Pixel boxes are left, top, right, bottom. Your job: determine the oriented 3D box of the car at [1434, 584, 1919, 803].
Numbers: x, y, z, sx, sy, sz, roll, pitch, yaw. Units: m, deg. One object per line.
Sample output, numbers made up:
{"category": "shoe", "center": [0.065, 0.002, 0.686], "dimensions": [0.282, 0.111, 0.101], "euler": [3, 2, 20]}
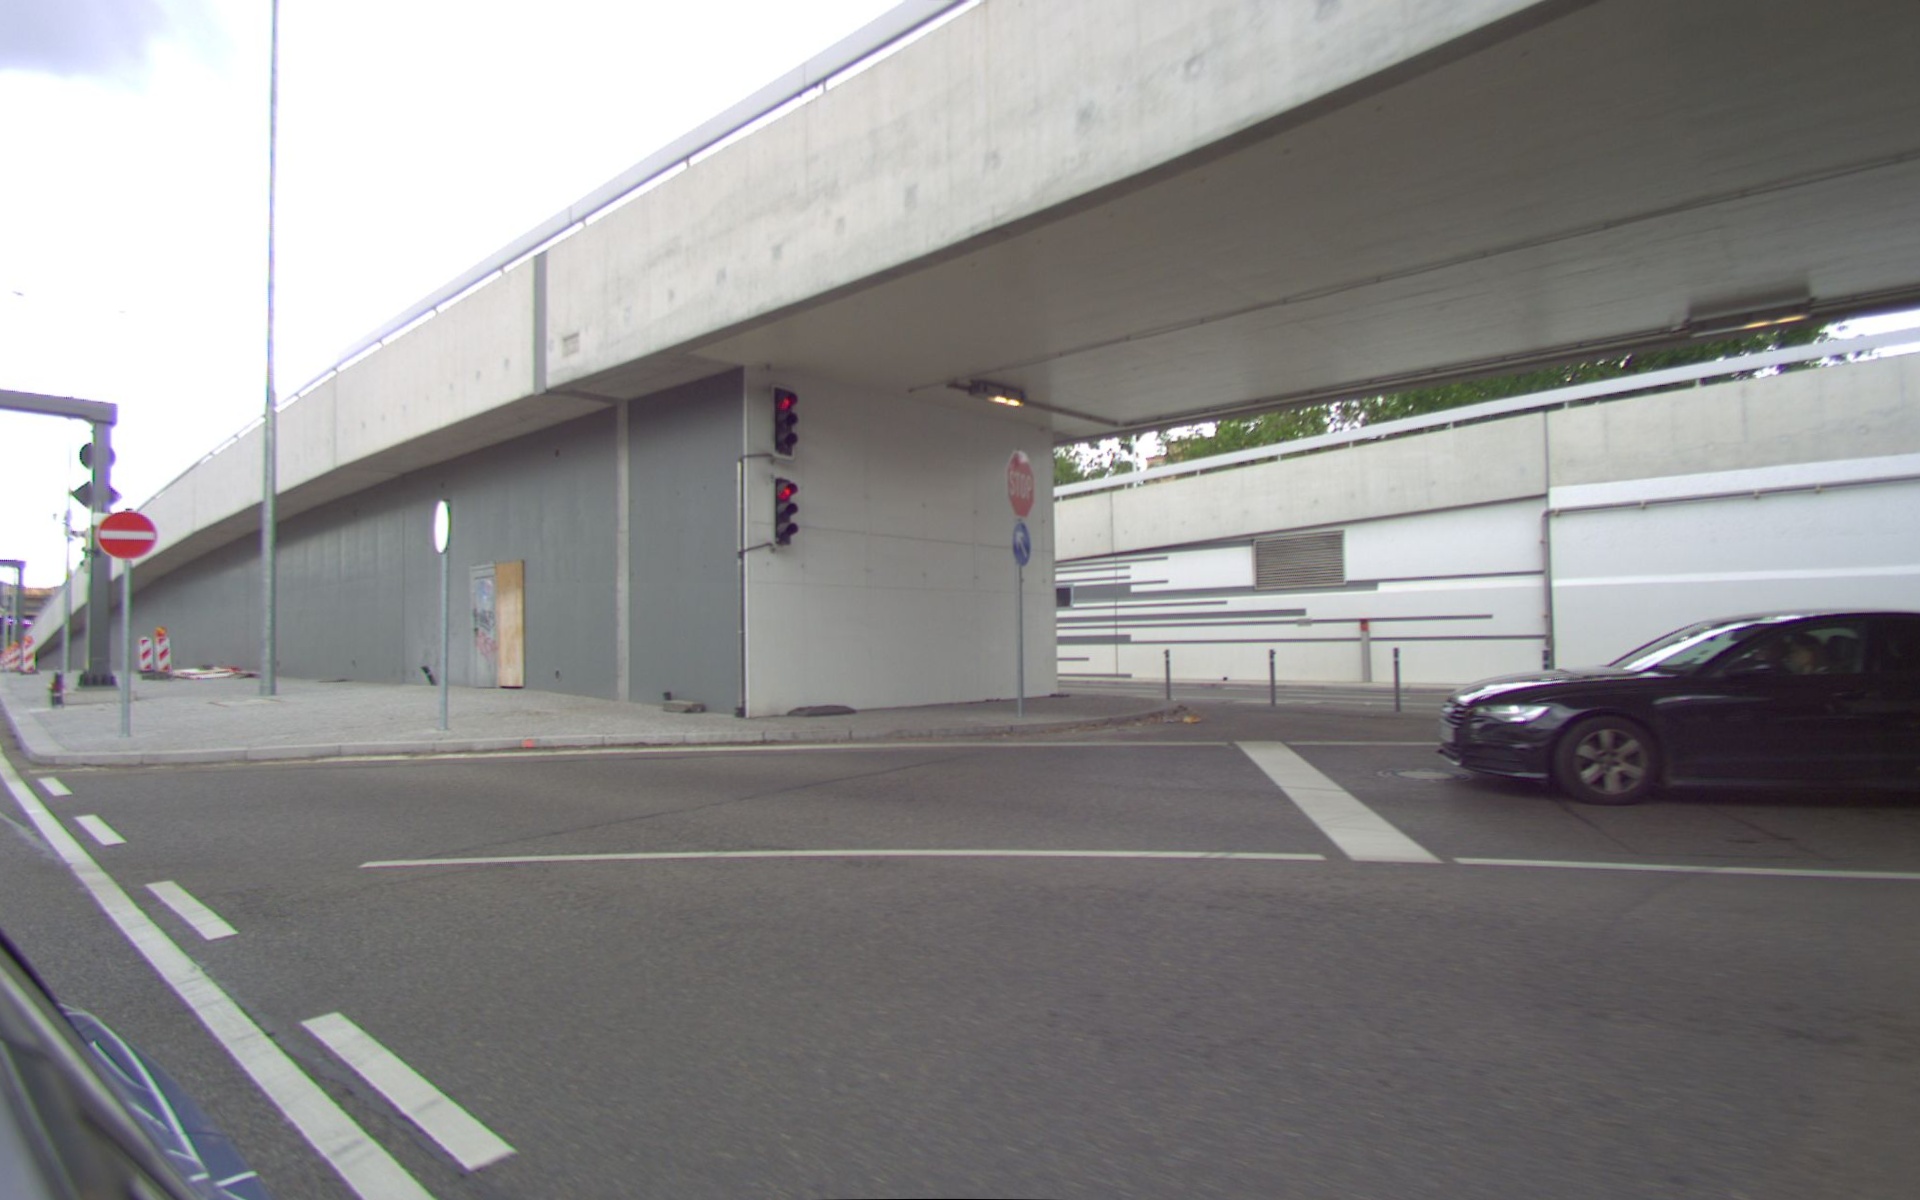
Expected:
{"category": "car", "center": [6.416, 0.651, 7.686], "dimensions": [4.799, 1.454, 1.847], "euler": [-1, -2, 15]}
